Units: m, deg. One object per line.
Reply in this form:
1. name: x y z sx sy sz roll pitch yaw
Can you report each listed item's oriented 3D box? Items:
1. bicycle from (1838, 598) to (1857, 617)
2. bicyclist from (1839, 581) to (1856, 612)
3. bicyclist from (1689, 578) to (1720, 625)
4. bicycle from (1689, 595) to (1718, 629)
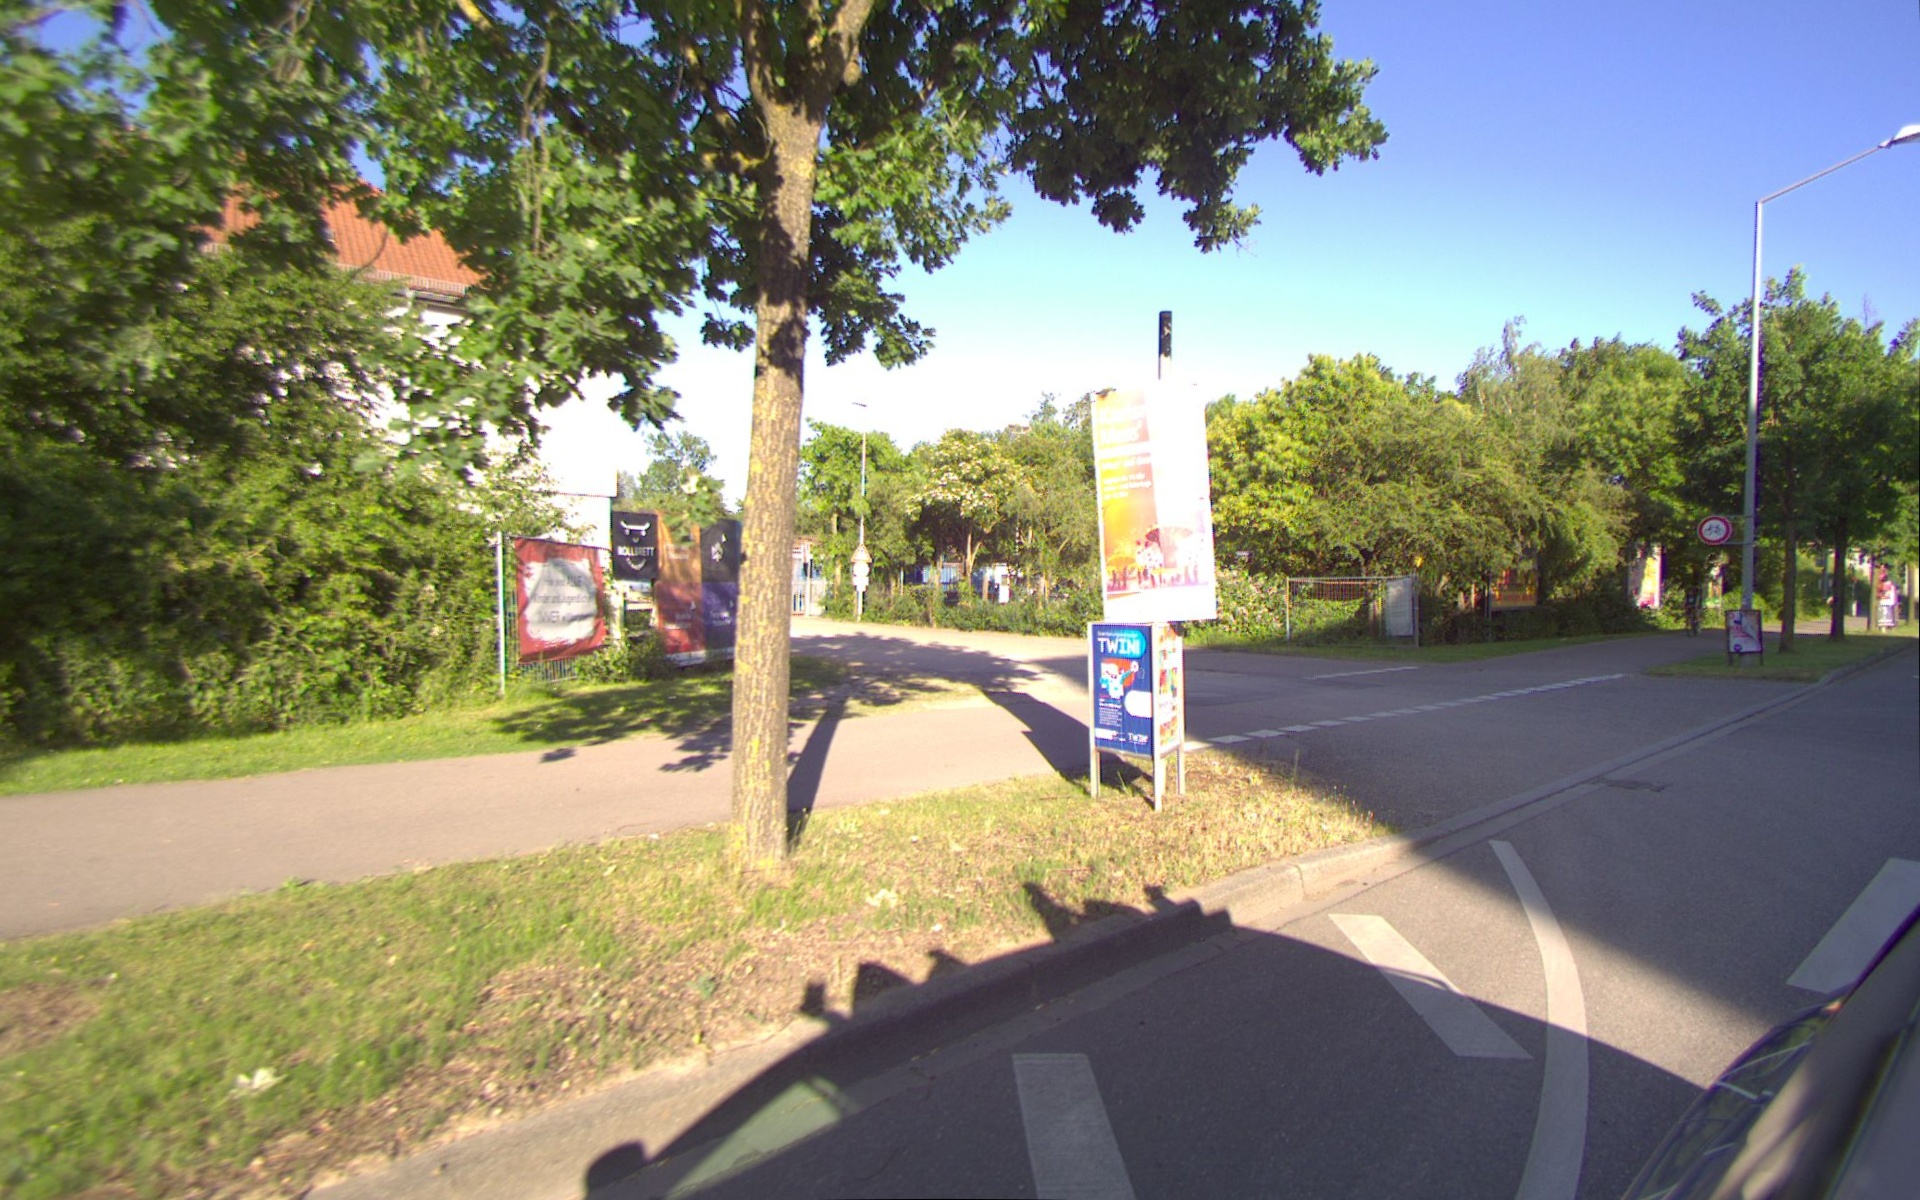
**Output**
1. bicycle: 47.750 0.380 54.459 2.012 1.004 0.572 0 1 -43
2. bicyclist: 47.753 -0.202 54.454 0.851 1.630 0.565 0 1 -43
3. bicyclist: 24.783 0.044 33.690 0.685 1.541 1.019 2 1 44
4. bicycle: 24.832 0.382 33.779 0.516 1.086 1.905 2 2 44
